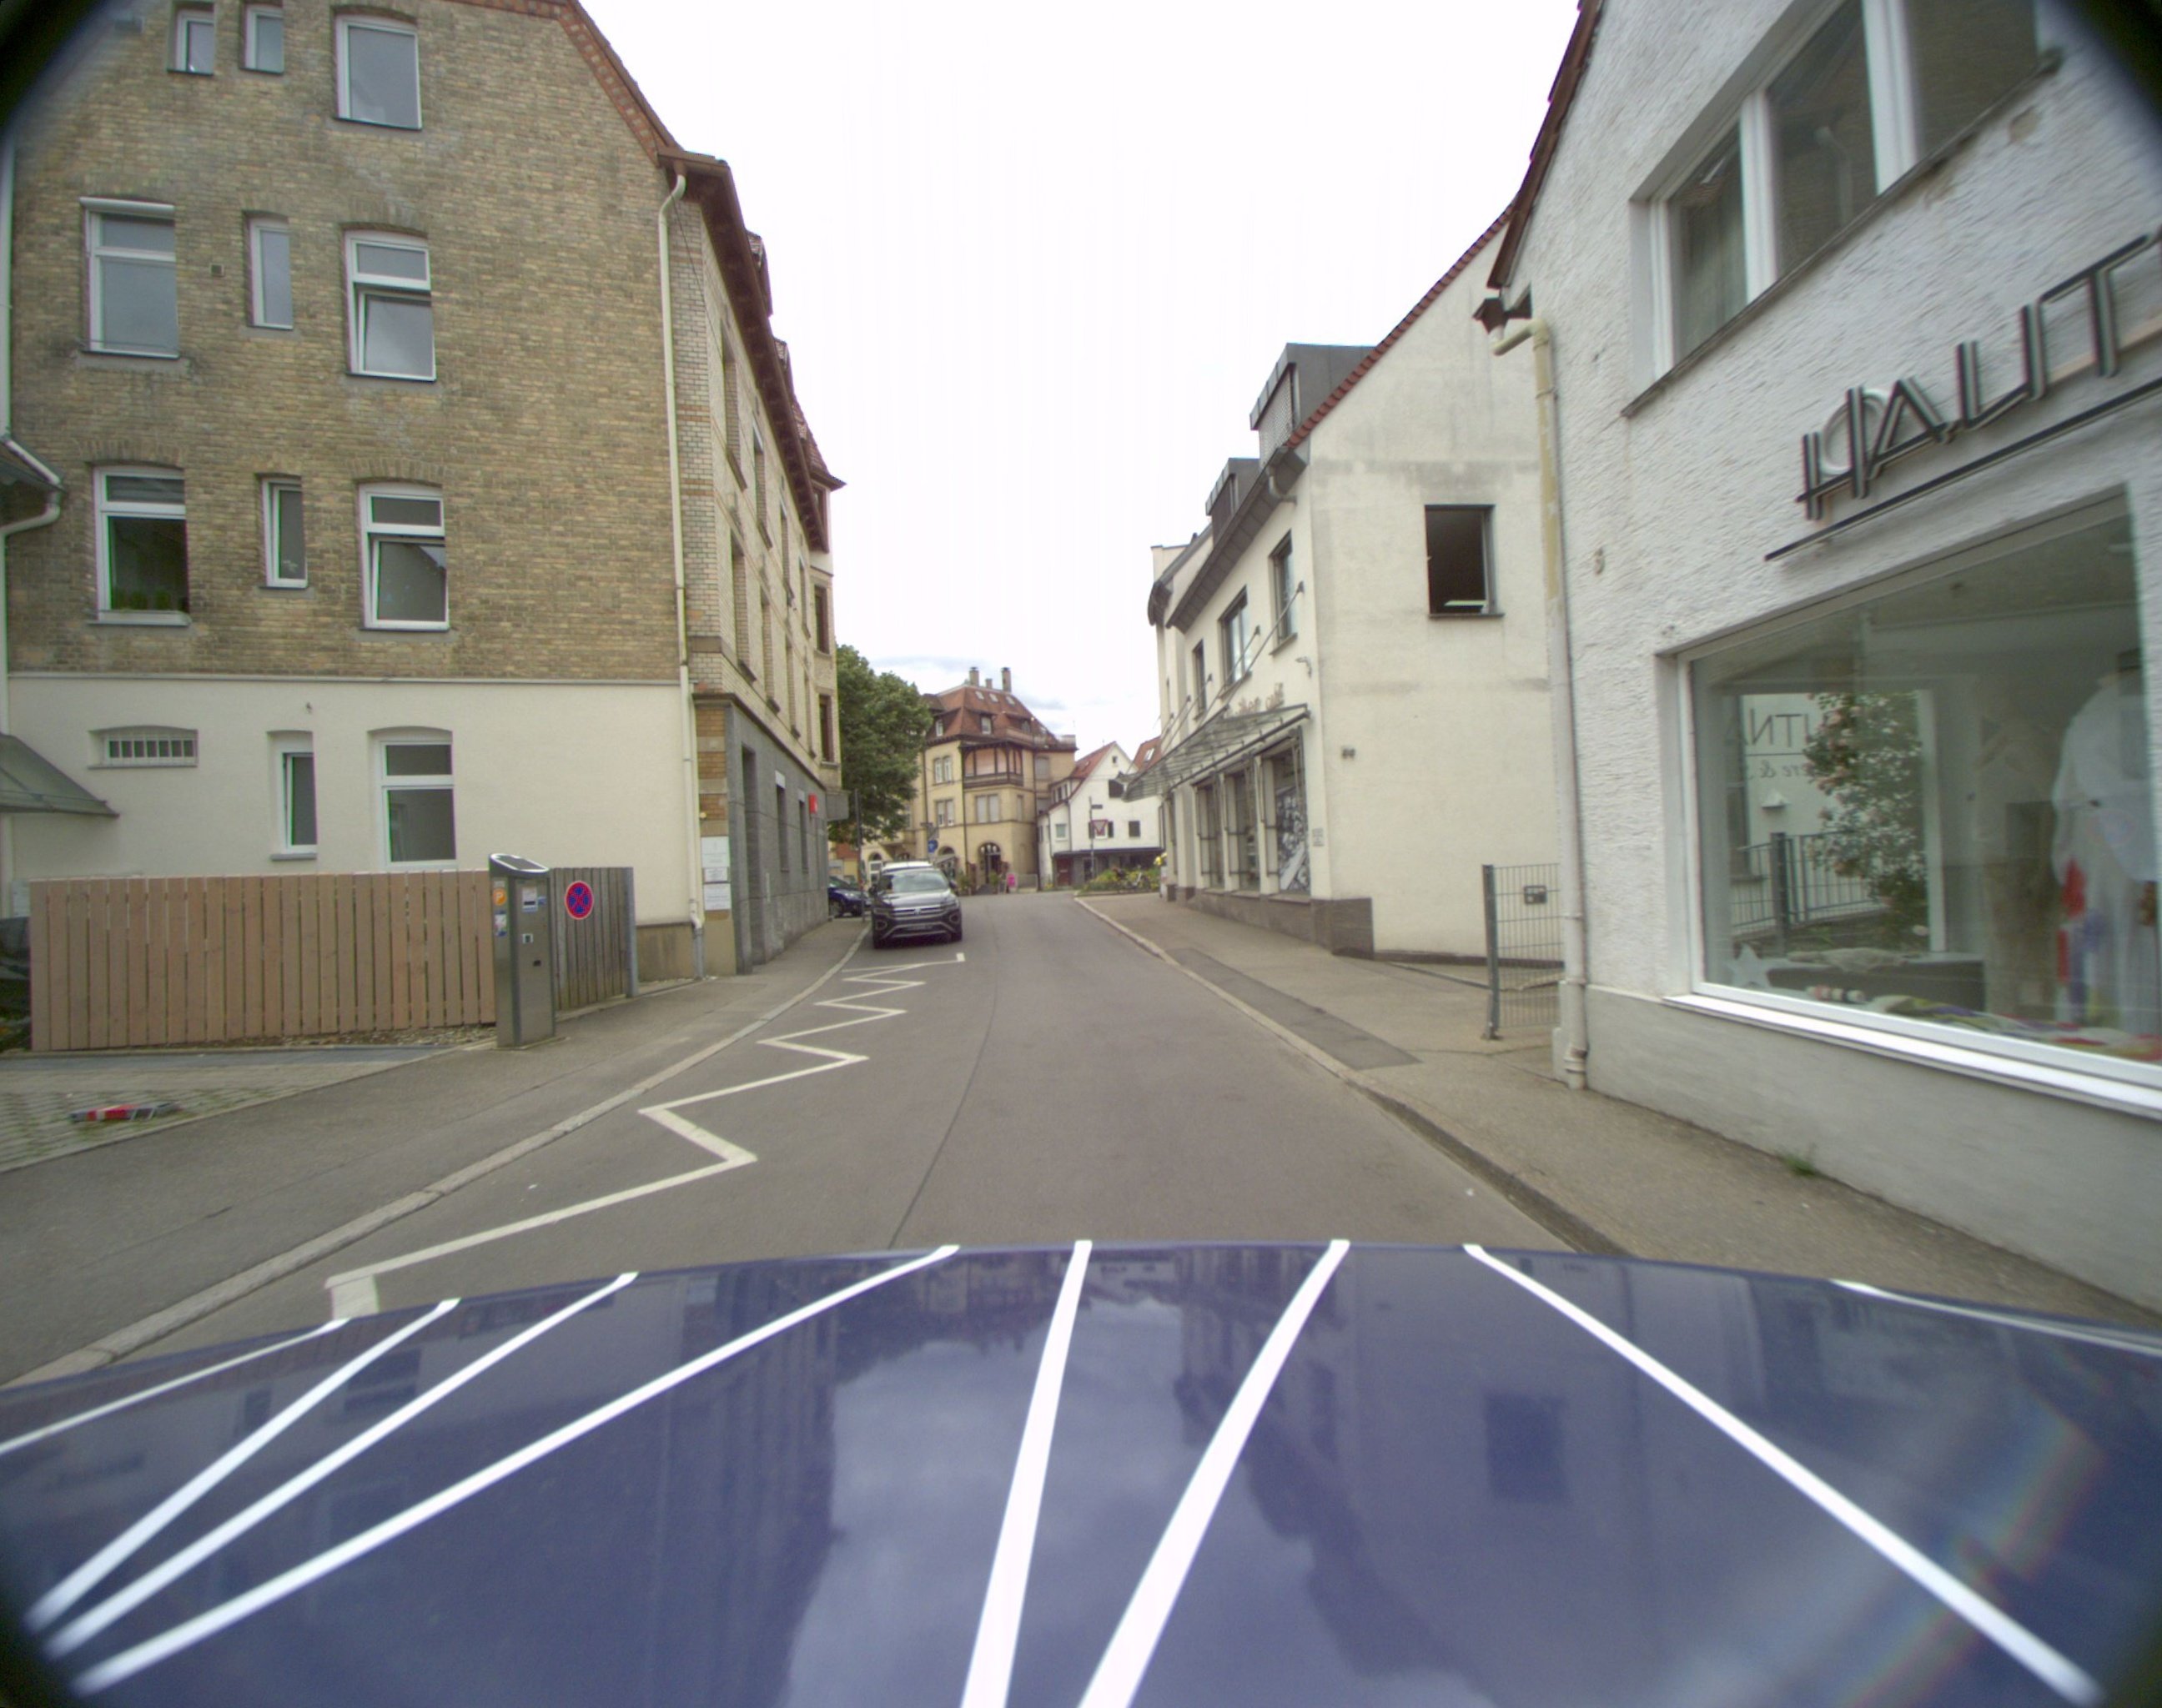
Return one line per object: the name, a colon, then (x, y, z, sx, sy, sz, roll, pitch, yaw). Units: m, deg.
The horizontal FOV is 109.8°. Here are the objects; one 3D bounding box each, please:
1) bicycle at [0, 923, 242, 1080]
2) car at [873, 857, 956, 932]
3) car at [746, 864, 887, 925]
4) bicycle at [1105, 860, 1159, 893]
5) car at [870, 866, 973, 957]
bicycle: (-9.598, 1.326, 7.222, 0.961, 1.211, 2.100, -1, -2, -3)
car: (-4.769, 1.076, 21.369, 1.833, 1.781, 4.213, -3, 0, -17)
car: (-8.860, 1.344, 25.595, 4.016, 1.694, 1.864, -4, 1, 12)
bicycle: (2.099, 0.940, 31.282, 1.982, 1.232, 0.743, -3, -1, -22)
car: (-3.619, 1.112, 16.588, 1.794, 1.591, 4.536, -4, 0, -16)
